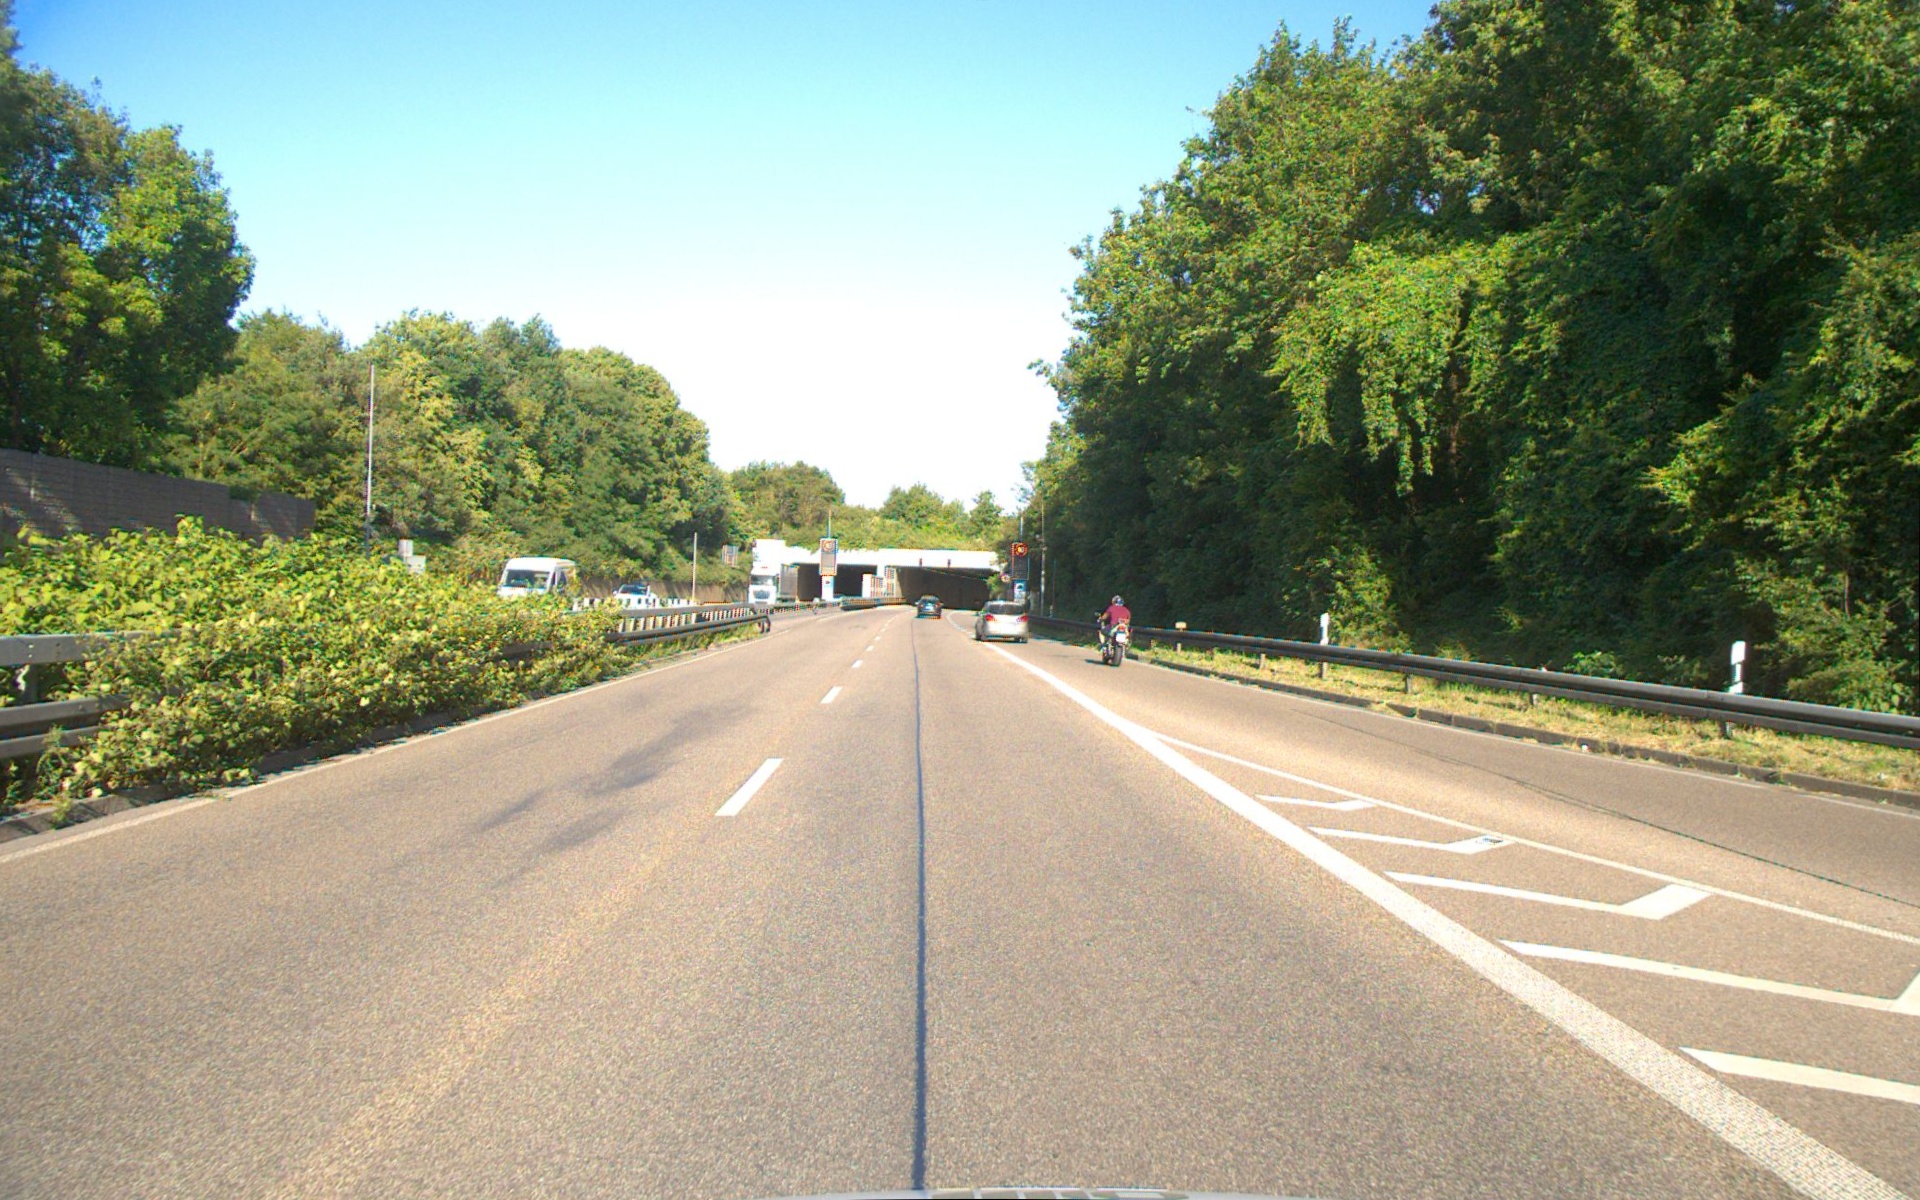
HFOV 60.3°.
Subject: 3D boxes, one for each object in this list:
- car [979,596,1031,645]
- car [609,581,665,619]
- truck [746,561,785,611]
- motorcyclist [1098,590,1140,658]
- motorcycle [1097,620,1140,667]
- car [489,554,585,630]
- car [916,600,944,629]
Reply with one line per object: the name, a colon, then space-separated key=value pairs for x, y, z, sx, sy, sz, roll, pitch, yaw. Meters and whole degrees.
car: x=1.610 y=0.715 z=60.168 sx=1.633 sy=1.579 sz=4.000 roll=3 pitch=1 yaw=-1
car: x=-16.707 y=-0.023 z=85.732 sx=1.953 sy=1.813 sz=4.784 roll=3 pitch=1 yaw=-2
truck: x=-17.820 y=-1.342 z=151.859 sx=2.680 sy=4.335 sz=6.387 roll=3 pitch=1 yaw=0
motorcyclist: x=3.733 y=0.550 z=38.996 sx=0.865 sy=1.527 sz=1.063 roll=3 pitch=1 yaw=3
motorcycle: x=3.727 y=0.999 z=39.092 sx=0.841 sy=1.008 sz=2.729 roll=3 pitch=0 yaw=3
car: x=-16.080 y=-0.343 z=63.229 sx=2.104 sy=2.656 sz=6.050 roll=3 pitch=1 yaw=-2
car: x=-2.165 y=1.037 z=119.545 sx=1.953 sy=1.959 sz=4.000 roll=2 pitch=1 yaw=-1
